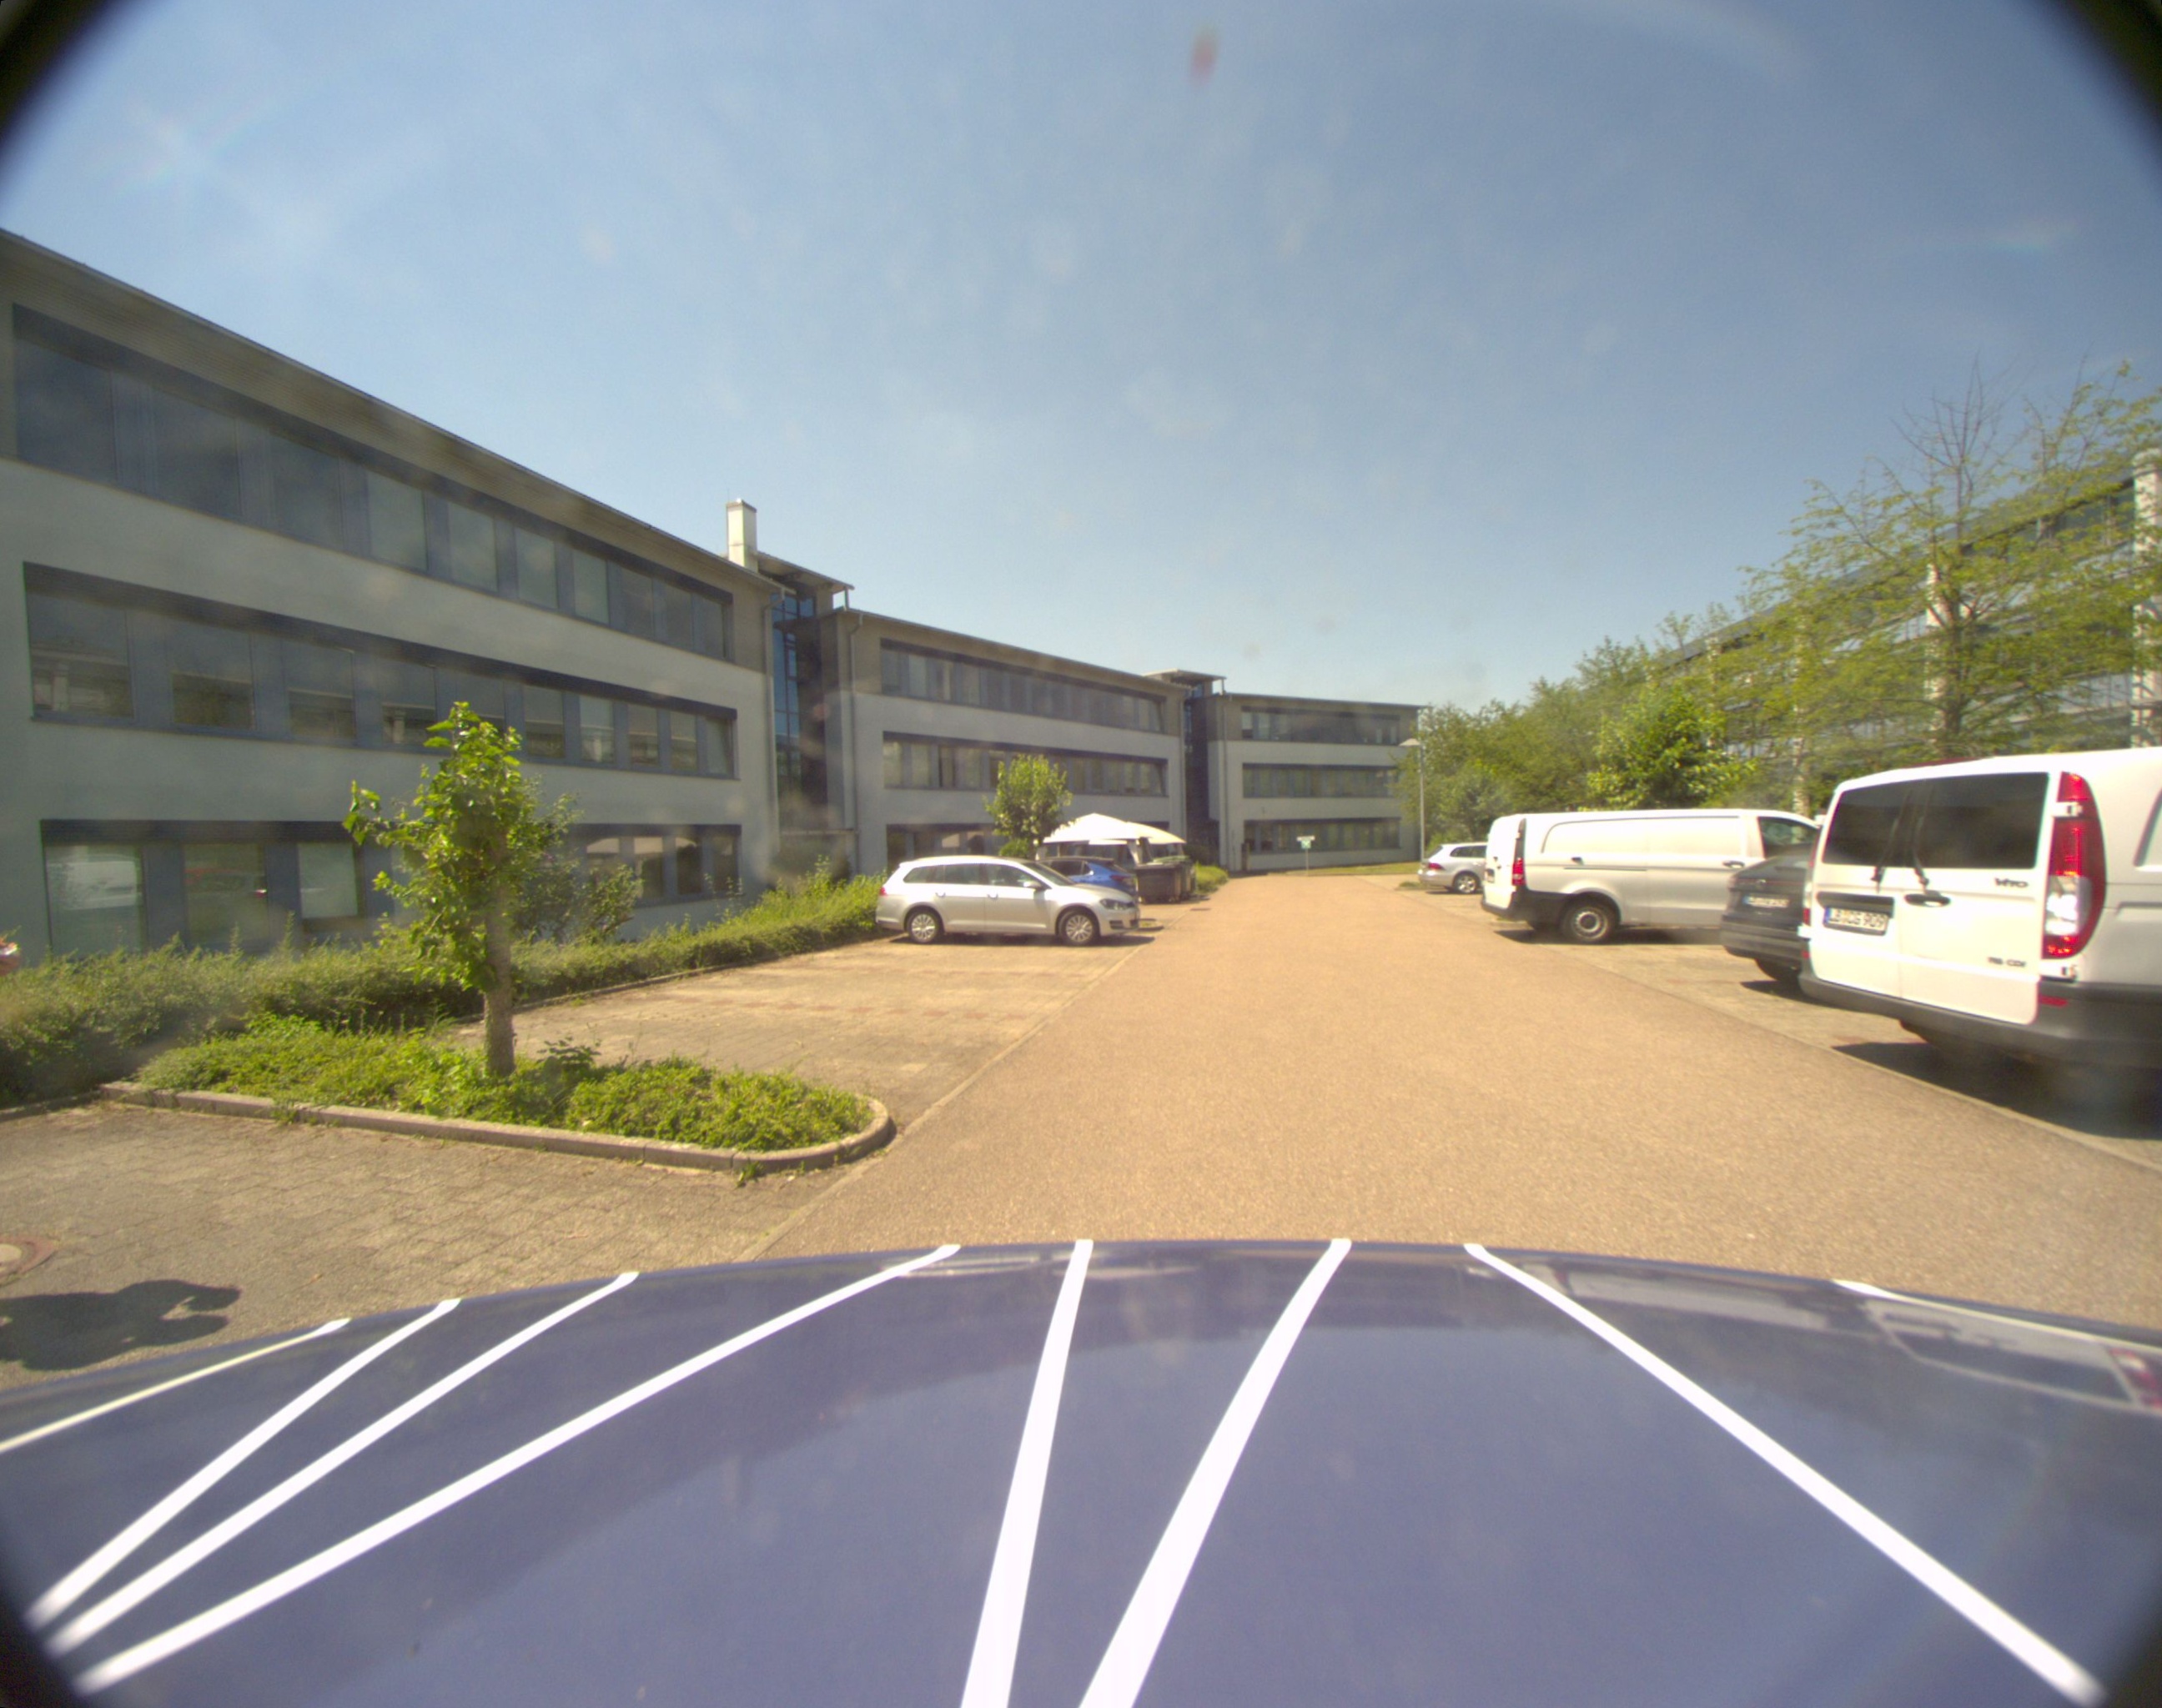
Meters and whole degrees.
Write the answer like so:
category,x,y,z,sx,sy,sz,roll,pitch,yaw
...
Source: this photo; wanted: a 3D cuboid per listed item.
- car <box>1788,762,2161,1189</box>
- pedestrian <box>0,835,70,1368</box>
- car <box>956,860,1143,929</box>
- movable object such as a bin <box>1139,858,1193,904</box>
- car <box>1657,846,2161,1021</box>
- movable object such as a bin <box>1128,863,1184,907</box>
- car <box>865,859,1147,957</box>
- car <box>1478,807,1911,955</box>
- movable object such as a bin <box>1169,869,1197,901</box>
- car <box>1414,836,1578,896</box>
category,x,y,z,sx,sy,sz,roll,pitch,yaw
car,6.962,0.475,3.811,4.727,1.895,1.831,-2,1,12
pedestrian,-3.947,0.823,2.310,0.788,1.747,0.618,-2,1,-5
car,-0.641,0.841,16.742,3.820,1.384,1.653,0,1,12
movable object such as a bin,2.540,0.791,22.609,1.362,1.288,1.044,-1,1,19
car,8.028,0.681,7.142,3.845,1.385,1.578,-2,1,12
movable object such as a bin,2.153,0.878,21.605,1.362,1.183,0.998,-1,1,19
car,-1.220,0.868,13.209,4.512,1.489,1.831,0,1,12
car,8.461,0.385,10.958,4.513,1.871,1.831,-2,1,12
movable object such as a bin,3.138,0.945,23.382,0.690,0.944,0.723,-1,1,19
car,11.645,0.339,21.544,3.759,1.549,1.662,-2,1,12
